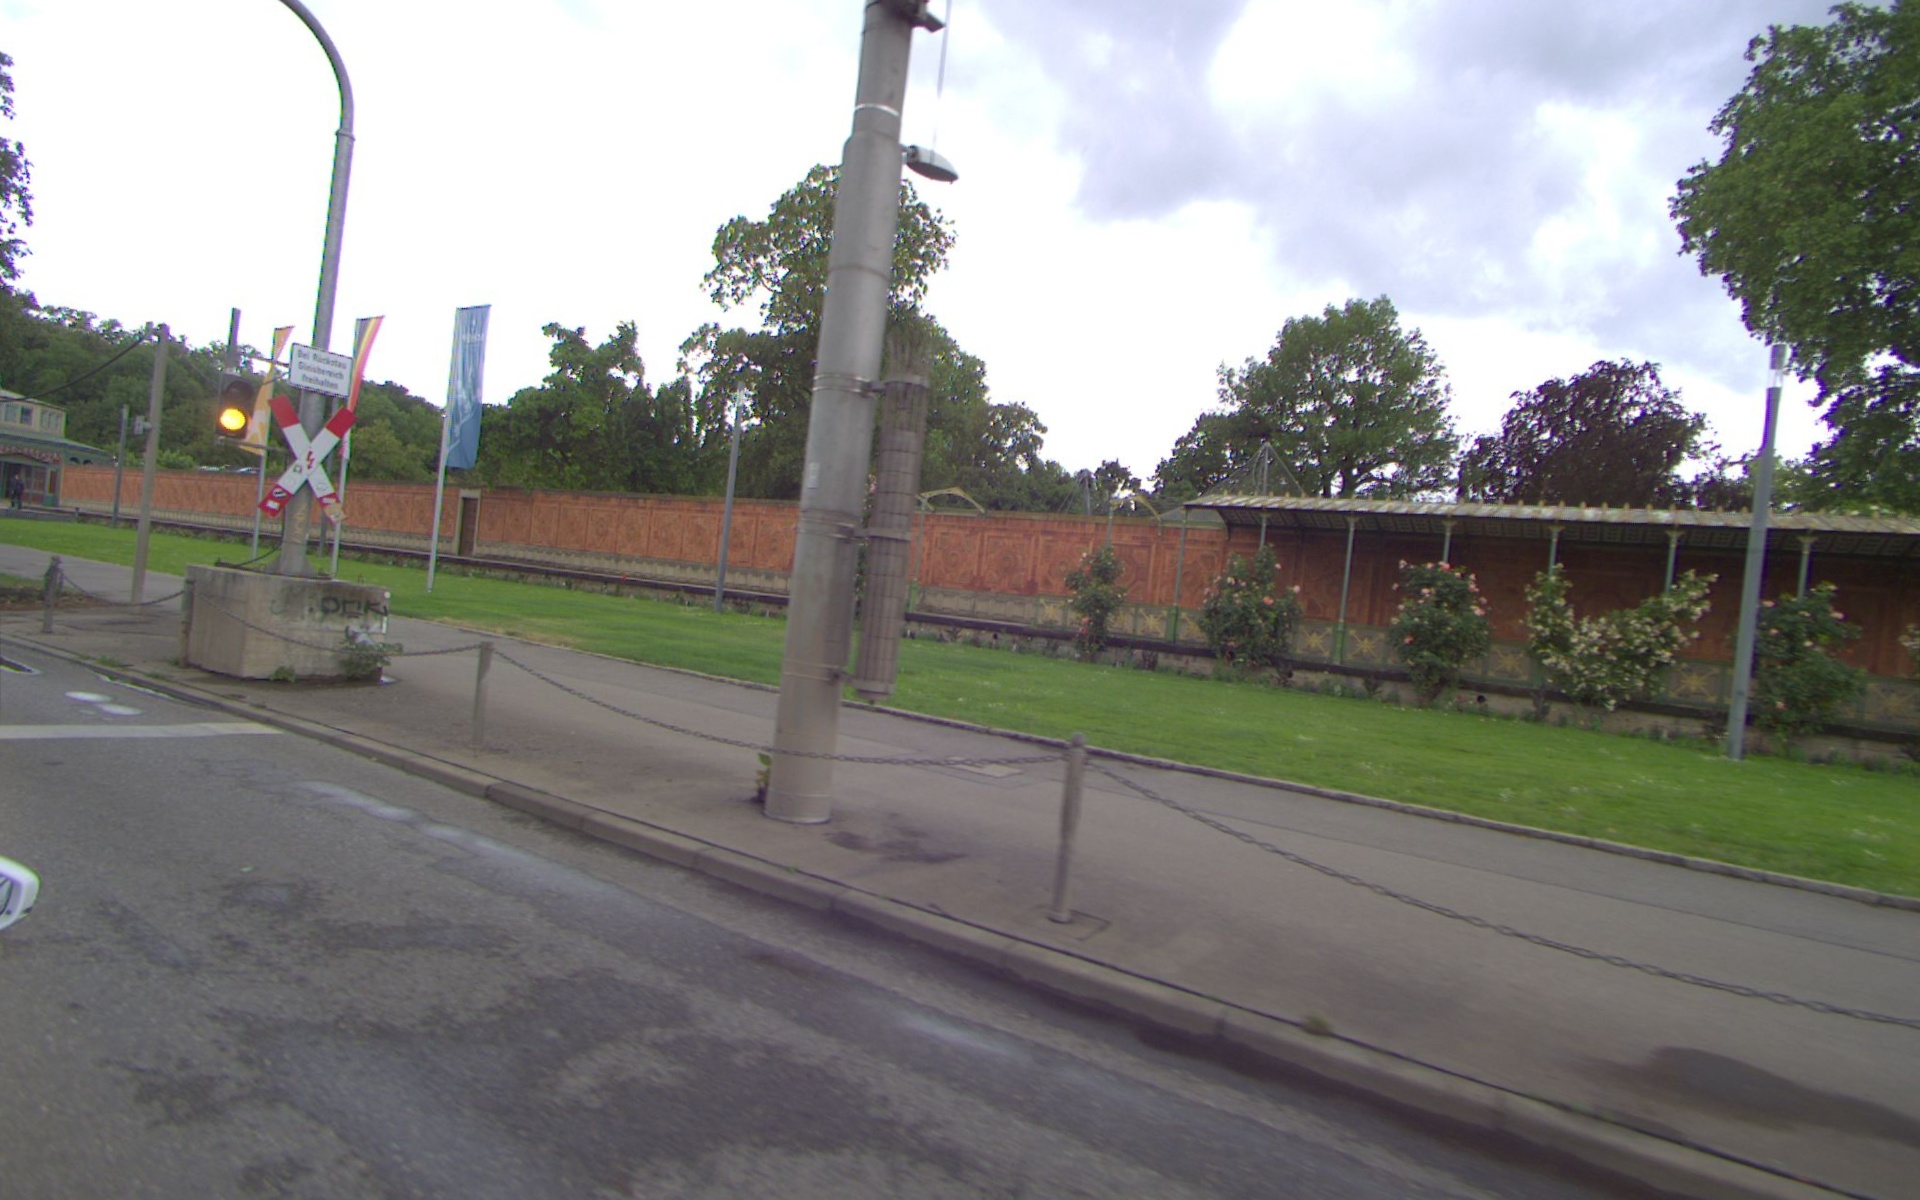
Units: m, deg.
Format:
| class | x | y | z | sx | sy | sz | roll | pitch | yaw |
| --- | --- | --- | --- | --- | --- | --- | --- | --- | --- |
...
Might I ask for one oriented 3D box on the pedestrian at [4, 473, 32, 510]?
| class | x | y | z | sx | sy | sz | roll | pitch | yaw |
| --- | --- | --- | --- | --- | --- | --- | --- | --- | --- |
| pedestrian | -53.032 | -6.108 | 56.644 | 0.946 | 1.859 | 0.543 | 8 | -2 | -43 |
